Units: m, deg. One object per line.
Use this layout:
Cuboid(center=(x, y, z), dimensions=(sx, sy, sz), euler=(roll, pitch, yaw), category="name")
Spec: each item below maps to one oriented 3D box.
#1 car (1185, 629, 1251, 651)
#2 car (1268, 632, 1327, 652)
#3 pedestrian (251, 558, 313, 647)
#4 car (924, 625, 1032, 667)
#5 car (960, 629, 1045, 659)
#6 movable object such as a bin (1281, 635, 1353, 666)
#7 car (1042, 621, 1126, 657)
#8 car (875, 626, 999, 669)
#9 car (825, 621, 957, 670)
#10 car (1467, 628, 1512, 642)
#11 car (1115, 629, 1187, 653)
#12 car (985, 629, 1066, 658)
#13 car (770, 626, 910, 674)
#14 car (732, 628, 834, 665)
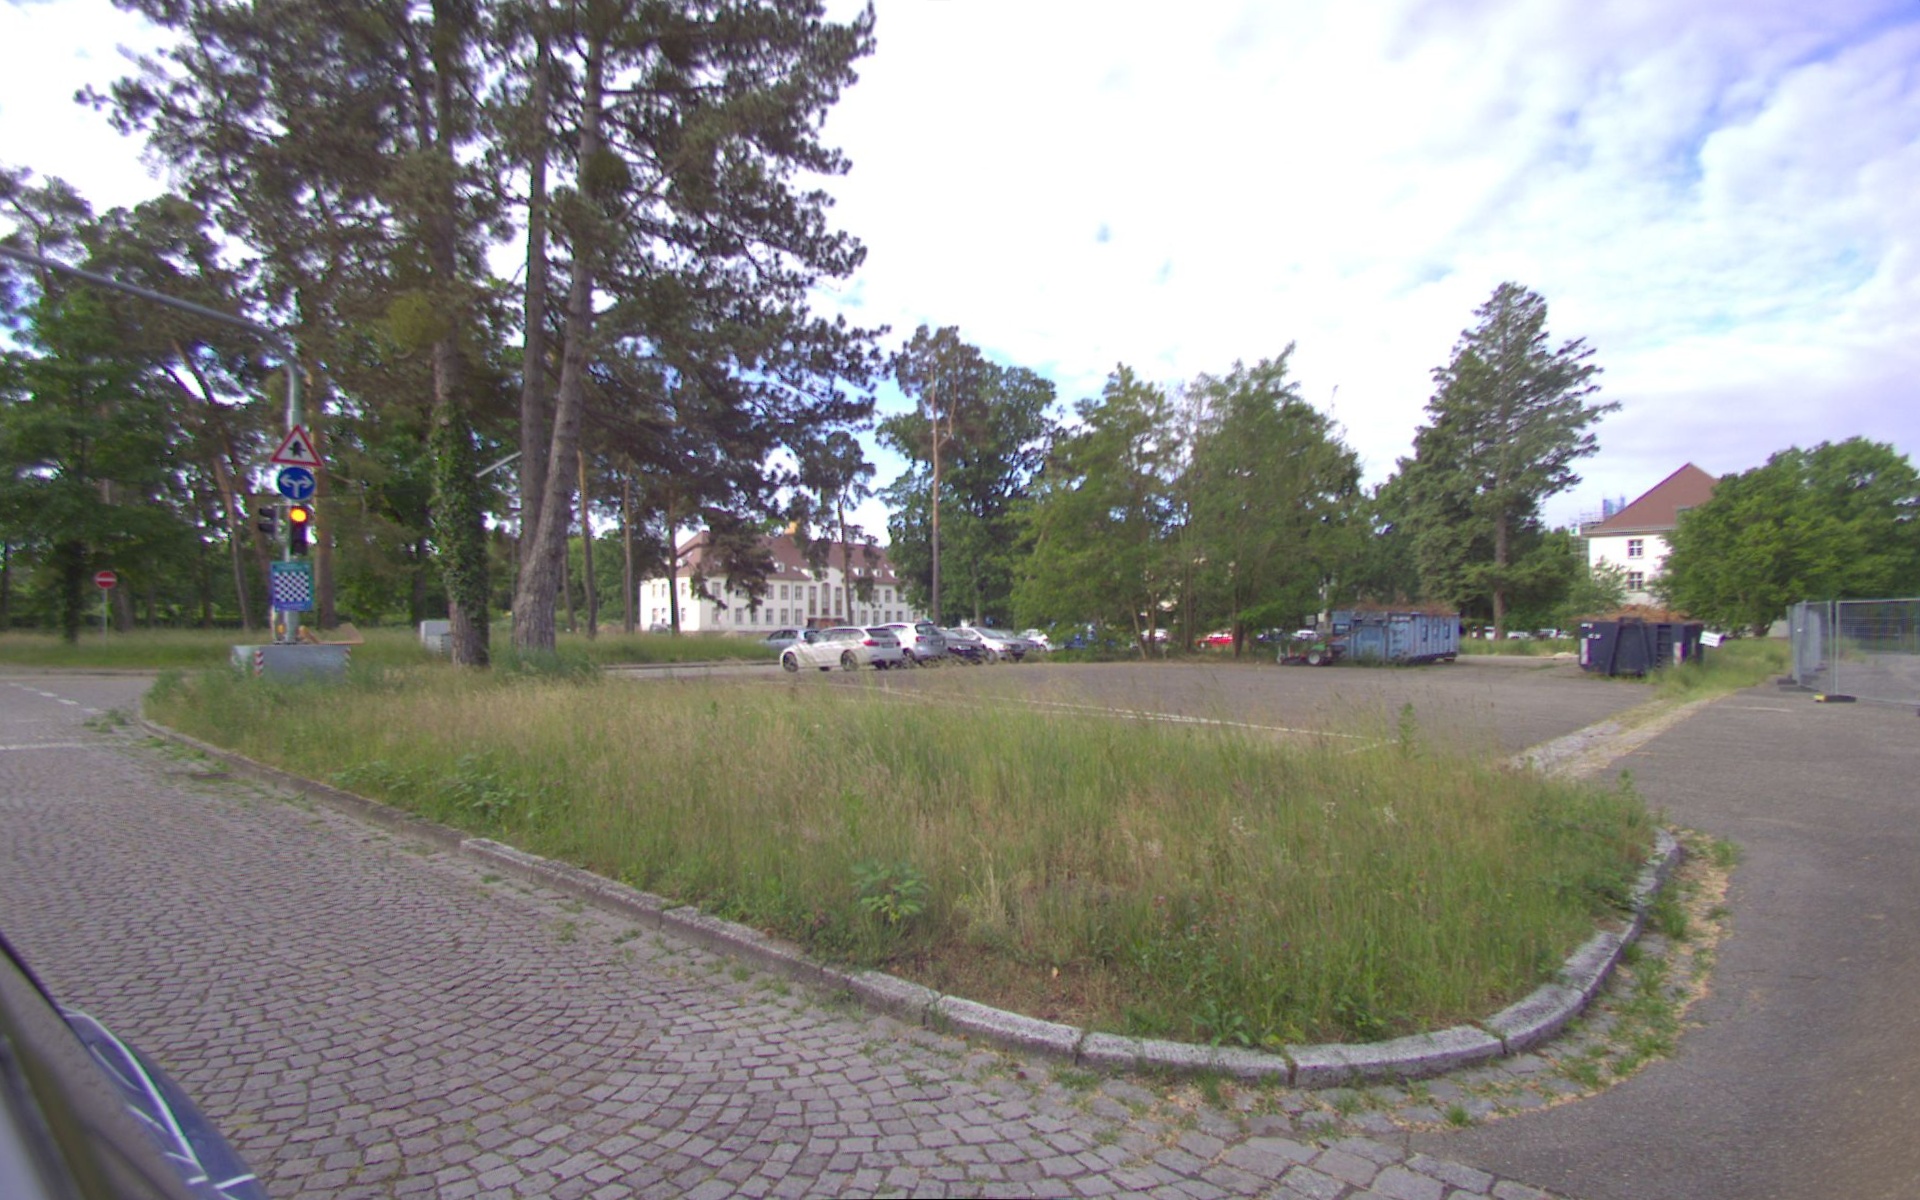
Cuboid(center=(19.861, 3.063, 77.988), dimensions=(4.579, 1.533, 1.817), euler=(-4, -4, 39), category="car")
Cuboid(center=(29.541, 3.697, 88.676), dimensions=(4.579, 1.533, 1.817), euler=(-4, -4, 39), category="car")
Cuboid(center=(-12.018, 0.065, 17.945), dimensions=(0.869, 1.529, 0.824), euler=(1, -2, -35), category="pedestrian")
Cuboid(center=(0.663, 1.799, 39.586), dimensions=(4.112, 1.533, 1.714), euler=(-4, -4, 42), category="car")
Cuboid(center=(2.358, 2.517, 57.150), dimensions=(4.579, 1.571, 1.817), euler=(-4, -4, 39), category="car")
Cuboid(center=(11.174, 1.571, 31.723), dimensions=(1.931, 0.940, 1.029), euler=(-1, -3, 35), category="movable object such as a bin")
Cuboid(center=(7.721, 2.467, 63.434), dimensions=(4.978, 2.113, 1.816), euler=(-4, -4, 41), category="car")
Cuboid(center=(-0.905, 1.772, 37.351), dimensions=(4.583, 1.480, 1.815), euler=(-4, -4, 42), category="car")
Cuboid(center=(-2.453, 1.608, 35.234), dimensions=(4.579, 1.590, 1.817), euler=(-4, -4, 39), category="car")
Cuboid(center=(64.041, 4.240, 122.382), dimensions=(4.579, 1.645, 1.817), euler=(-2, -2, 39), category="car")
Cuboid(center=(13.268, 2.860, 70.285), dimensions=(4.579, 1.533, 1.817), euler=(-4, -4, 39), category="car")
Cuboid(center=(3.846, 2.593, 59.808), dimensions=(4.579, 1.586, 1.817), euler=(-4, -4, 39), category="car")
Cuboid(center=(-3.996, 1.655, 33.156), dimensions=(4.650, 1.461, 1.817), euler=(-4, -4, 39), category="car")
Cuboid(center=(-8.057, 2.137, 45.965), dimensions=(4.572, 1.559, 1.820), euler=(-3, -3, 34), category="car")
